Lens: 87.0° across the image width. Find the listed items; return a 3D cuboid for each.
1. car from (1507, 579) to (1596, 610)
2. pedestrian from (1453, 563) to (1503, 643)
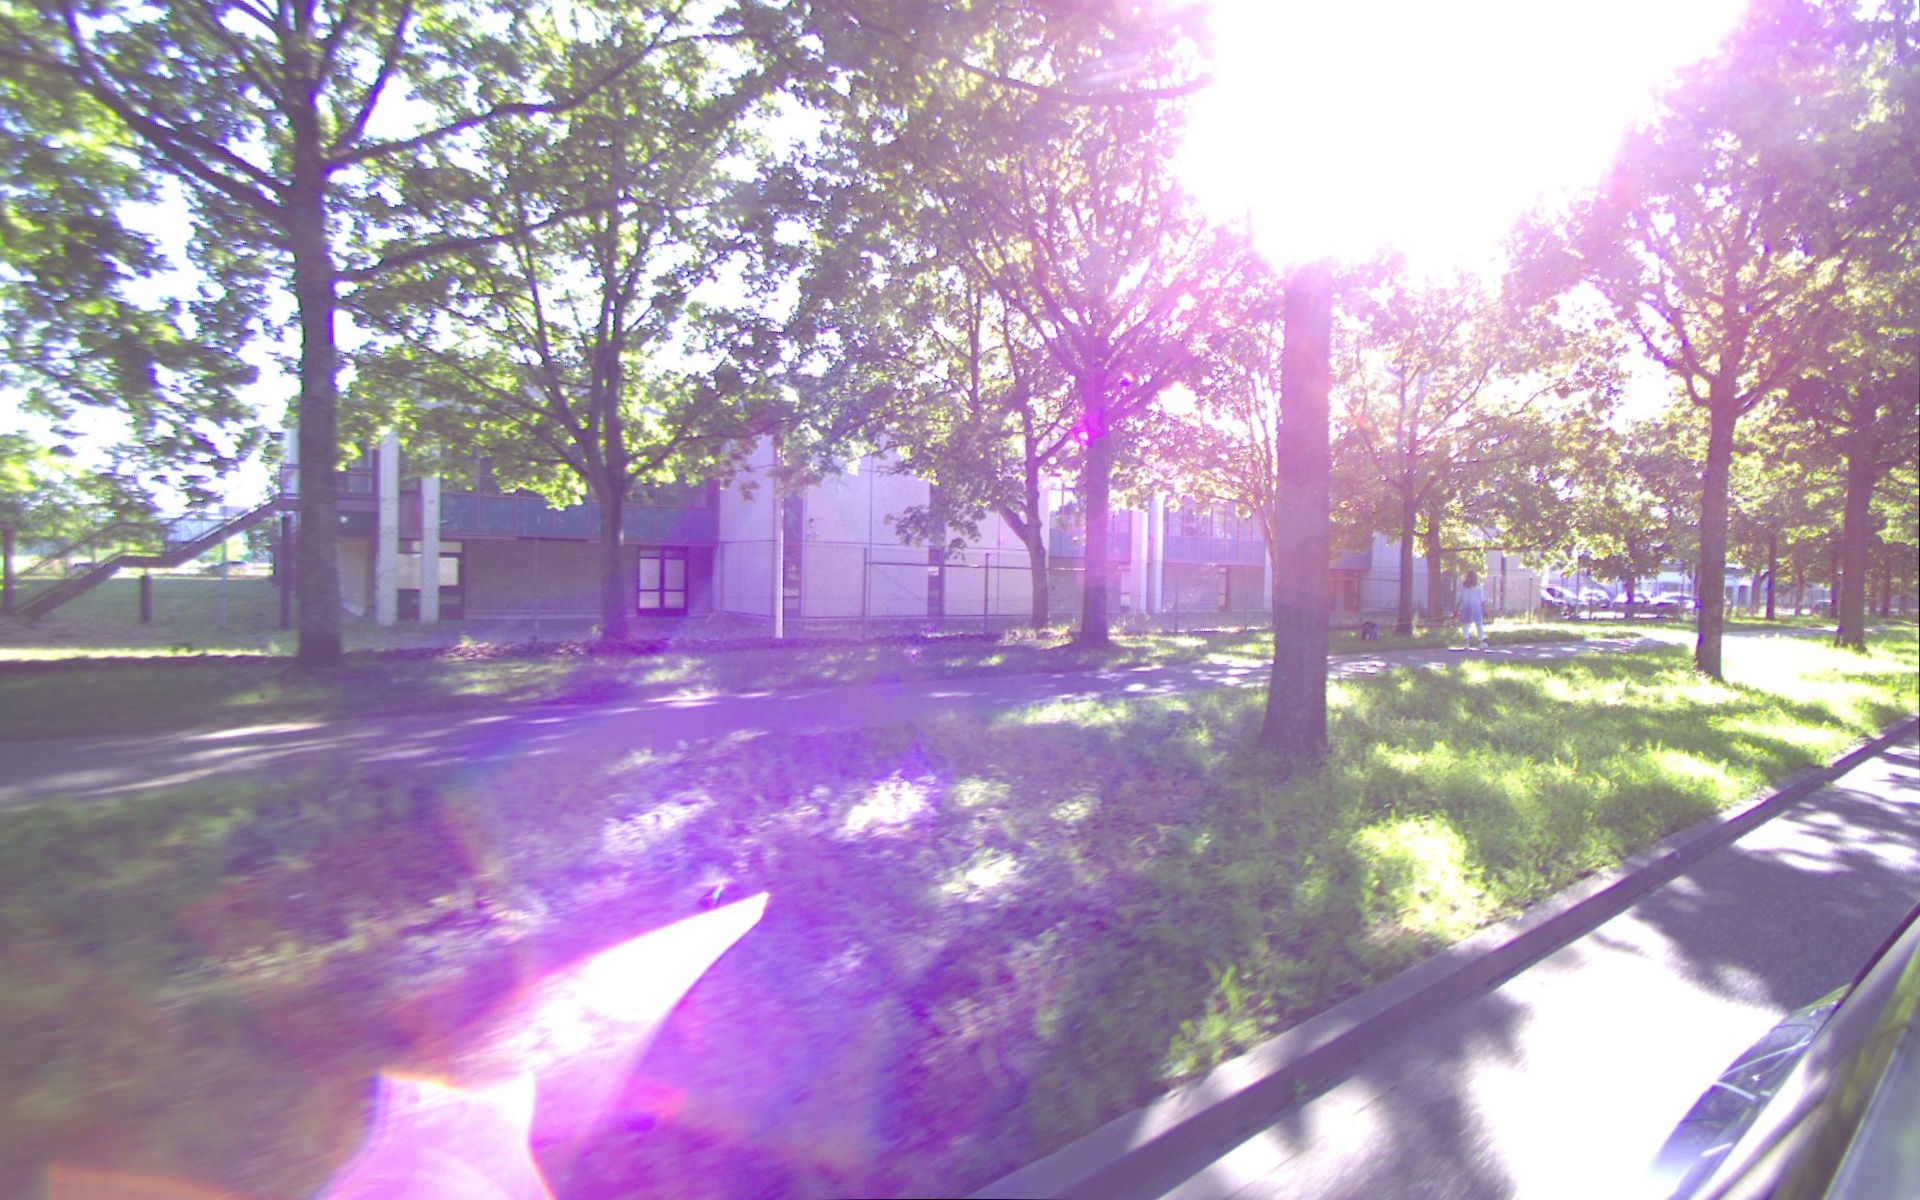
[{"bbox_3d":[41.929,-0.435,71.802,1.862,1.983,5.073,0,3,-41],"label":"car"},{"bbox_3d":[11.048,0.055,21.596,0.706,1.650,0.610,1,3,-38],"label":"pedestrian"}]
